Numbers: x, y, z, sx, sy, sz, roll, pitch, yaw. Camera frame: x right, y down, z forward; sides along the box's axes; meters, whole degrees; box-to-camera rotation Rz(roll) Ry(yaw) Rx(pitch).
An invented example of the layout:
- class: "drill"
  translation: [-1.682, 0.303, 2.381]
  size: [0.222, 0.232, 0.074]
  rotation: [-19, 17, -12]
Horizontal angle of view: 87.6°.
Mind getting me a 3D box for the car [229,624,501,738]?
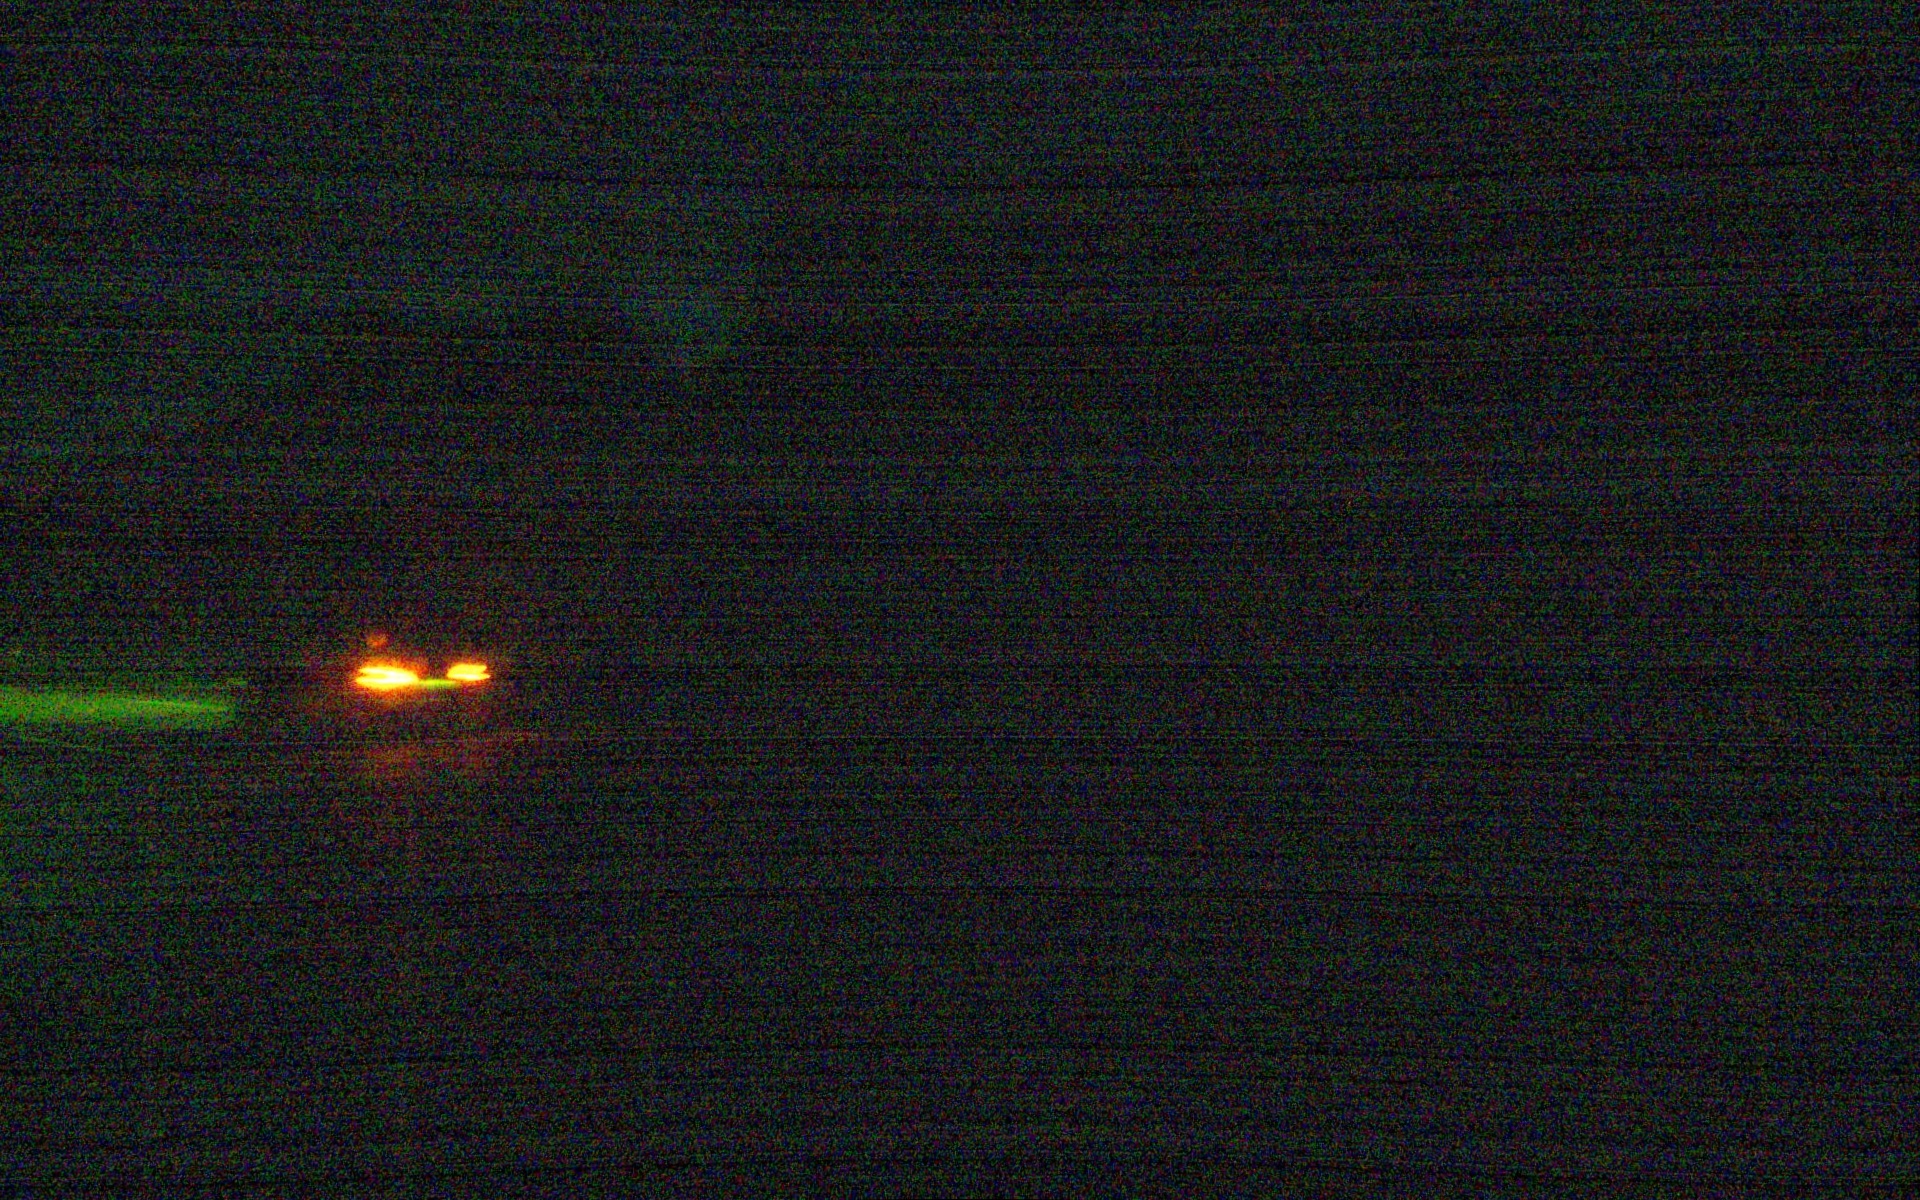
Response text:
- class: "car"
  translation: [-8.964, 1.123, 14.999]
  size: [4.187, 1.485, 1.818]
  rotation: [-1, -2, 33]
